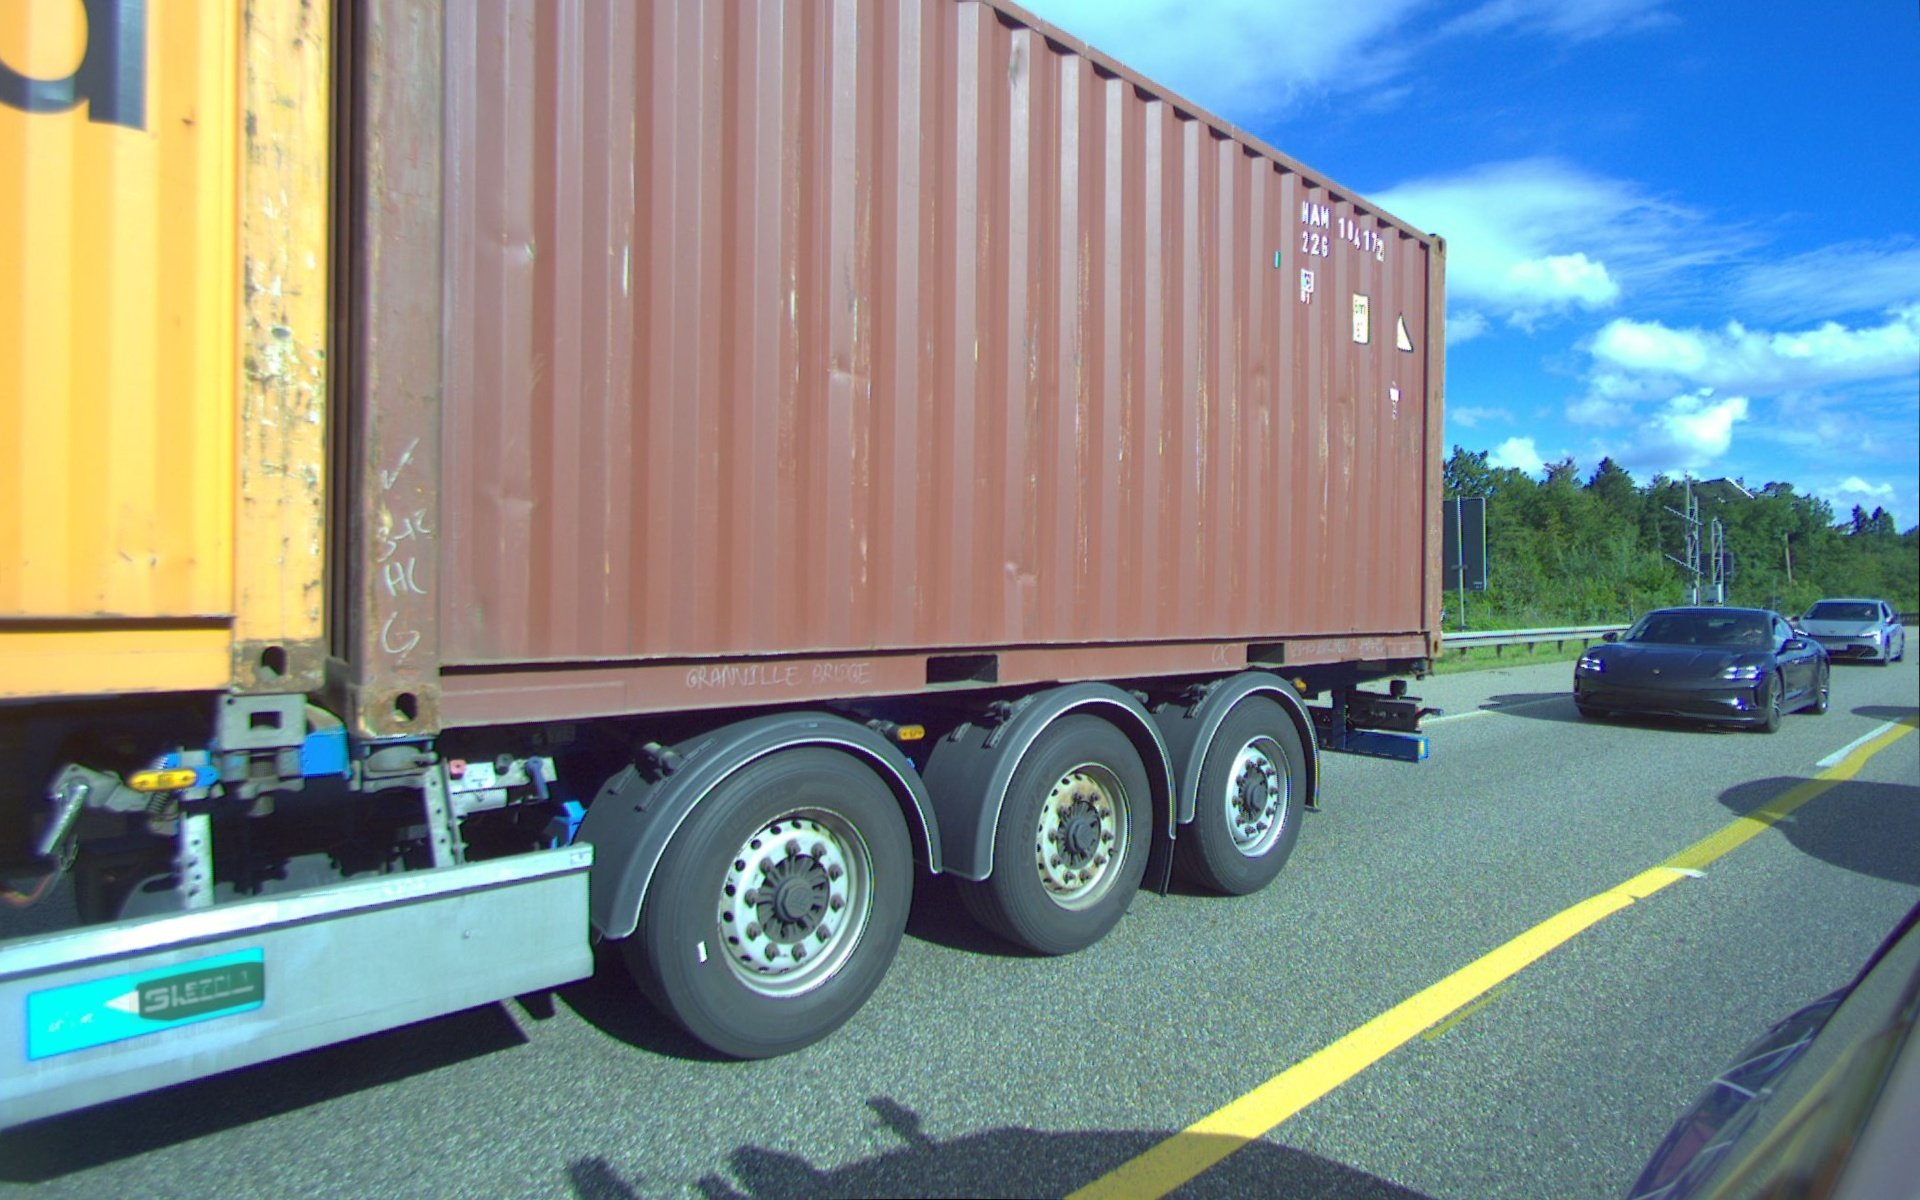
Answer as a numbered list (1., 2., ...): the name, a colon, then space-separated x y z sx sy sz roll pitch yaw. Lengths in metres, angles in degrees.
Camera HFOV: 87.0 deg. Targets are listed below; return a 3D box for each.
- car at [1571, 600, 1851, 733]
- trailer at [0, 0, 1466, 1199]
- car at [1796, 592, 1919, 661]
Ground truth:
1. car: 9.594 0.701 12.799 4.399 1.367 1.932 0 0 -41
2. trailer: -2.149 -0.547 3.273 11.925 3.822 2.476 0 1 -41
3. car: 21.589 0.567 24.255 3.898 1.498 1.761 -1 1 -41
